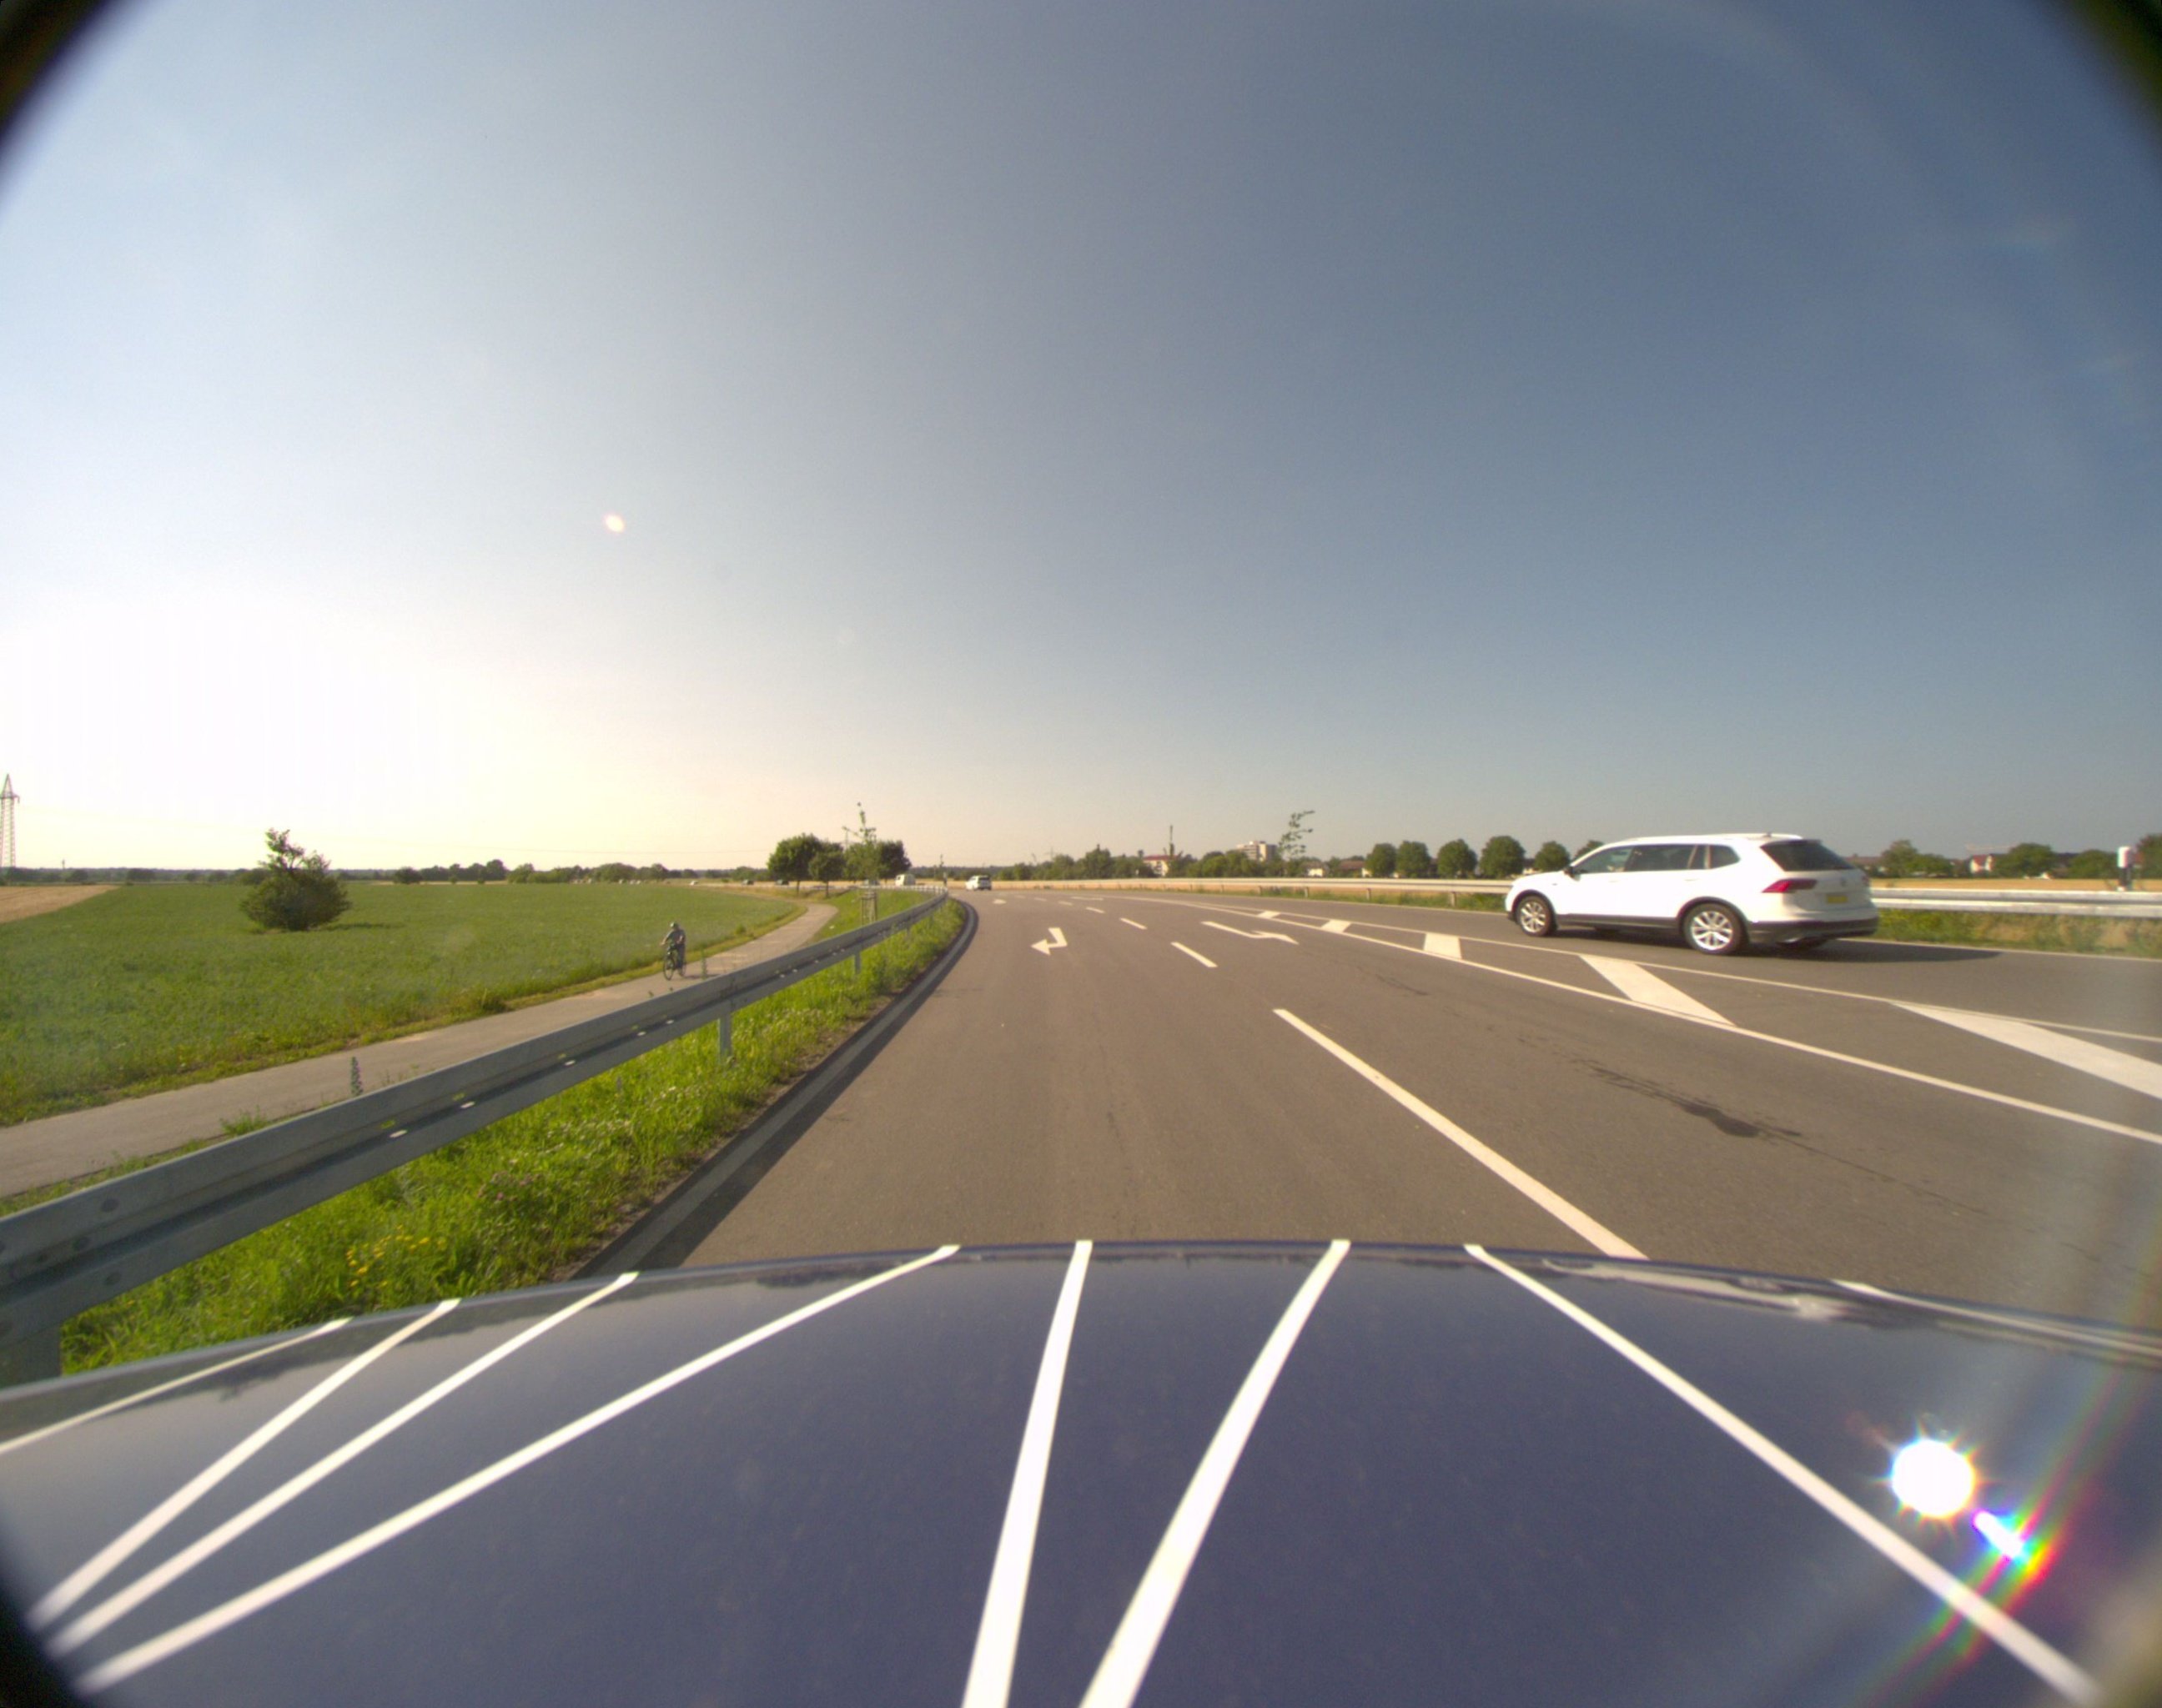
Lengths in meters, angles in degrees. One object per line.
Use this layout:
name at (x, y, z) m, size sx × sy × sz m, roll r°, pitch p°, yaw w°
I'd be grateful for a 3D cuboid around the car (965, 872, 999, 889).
car at (-10.096, 2.740, 77.472) m, size 2.124 × 1.483 × 5.146 m, roll -2°, pitch -3°, yaw -23°

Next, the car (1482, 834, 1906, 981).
car at (8.724, 0.571, 11.540) m, size 1.698 × 1.664 × 4.854 m, roll -1°, pitch 2°, yaw -17°

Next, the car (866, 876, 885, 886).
car at (-31.784, 4.183, 117.252) m, size 1.803 × 1.439 × 4.698 m, roll -2°, pitch -3°, yaw -28°

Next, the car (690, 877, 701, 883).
car at (-107.035, 7.212, 211.159) m, size 1.862 × 1.440 × 4.143 m, roll -2°, pitch 0°, yaw -39°

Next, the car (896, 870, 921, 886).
car at (-24.341, 3.372, 107.175) m, size 2.124 × 2.001 × 5.145 m, roll -2°, pitch -3°, yaw -27°

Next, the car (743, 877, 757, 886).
car at (-74.811, 6.159, 171.874) m, size 1.891 × 1.787 × 5.078 m, roll -2°, pitch 1°, yaw -34°

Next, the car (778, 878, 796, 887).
car at (-59.816, 5.805, 154.646) m, size 2.004 × 1.583 × 4.850 m, roll -1°, pitch -1°, yaw -40°

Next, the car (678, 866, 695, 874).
car at (-102.034, 4.210, 196.611) m, size 2.822 × 2.002 × 6.086 m, roll -2°, pitch 0°, yaw -38°
